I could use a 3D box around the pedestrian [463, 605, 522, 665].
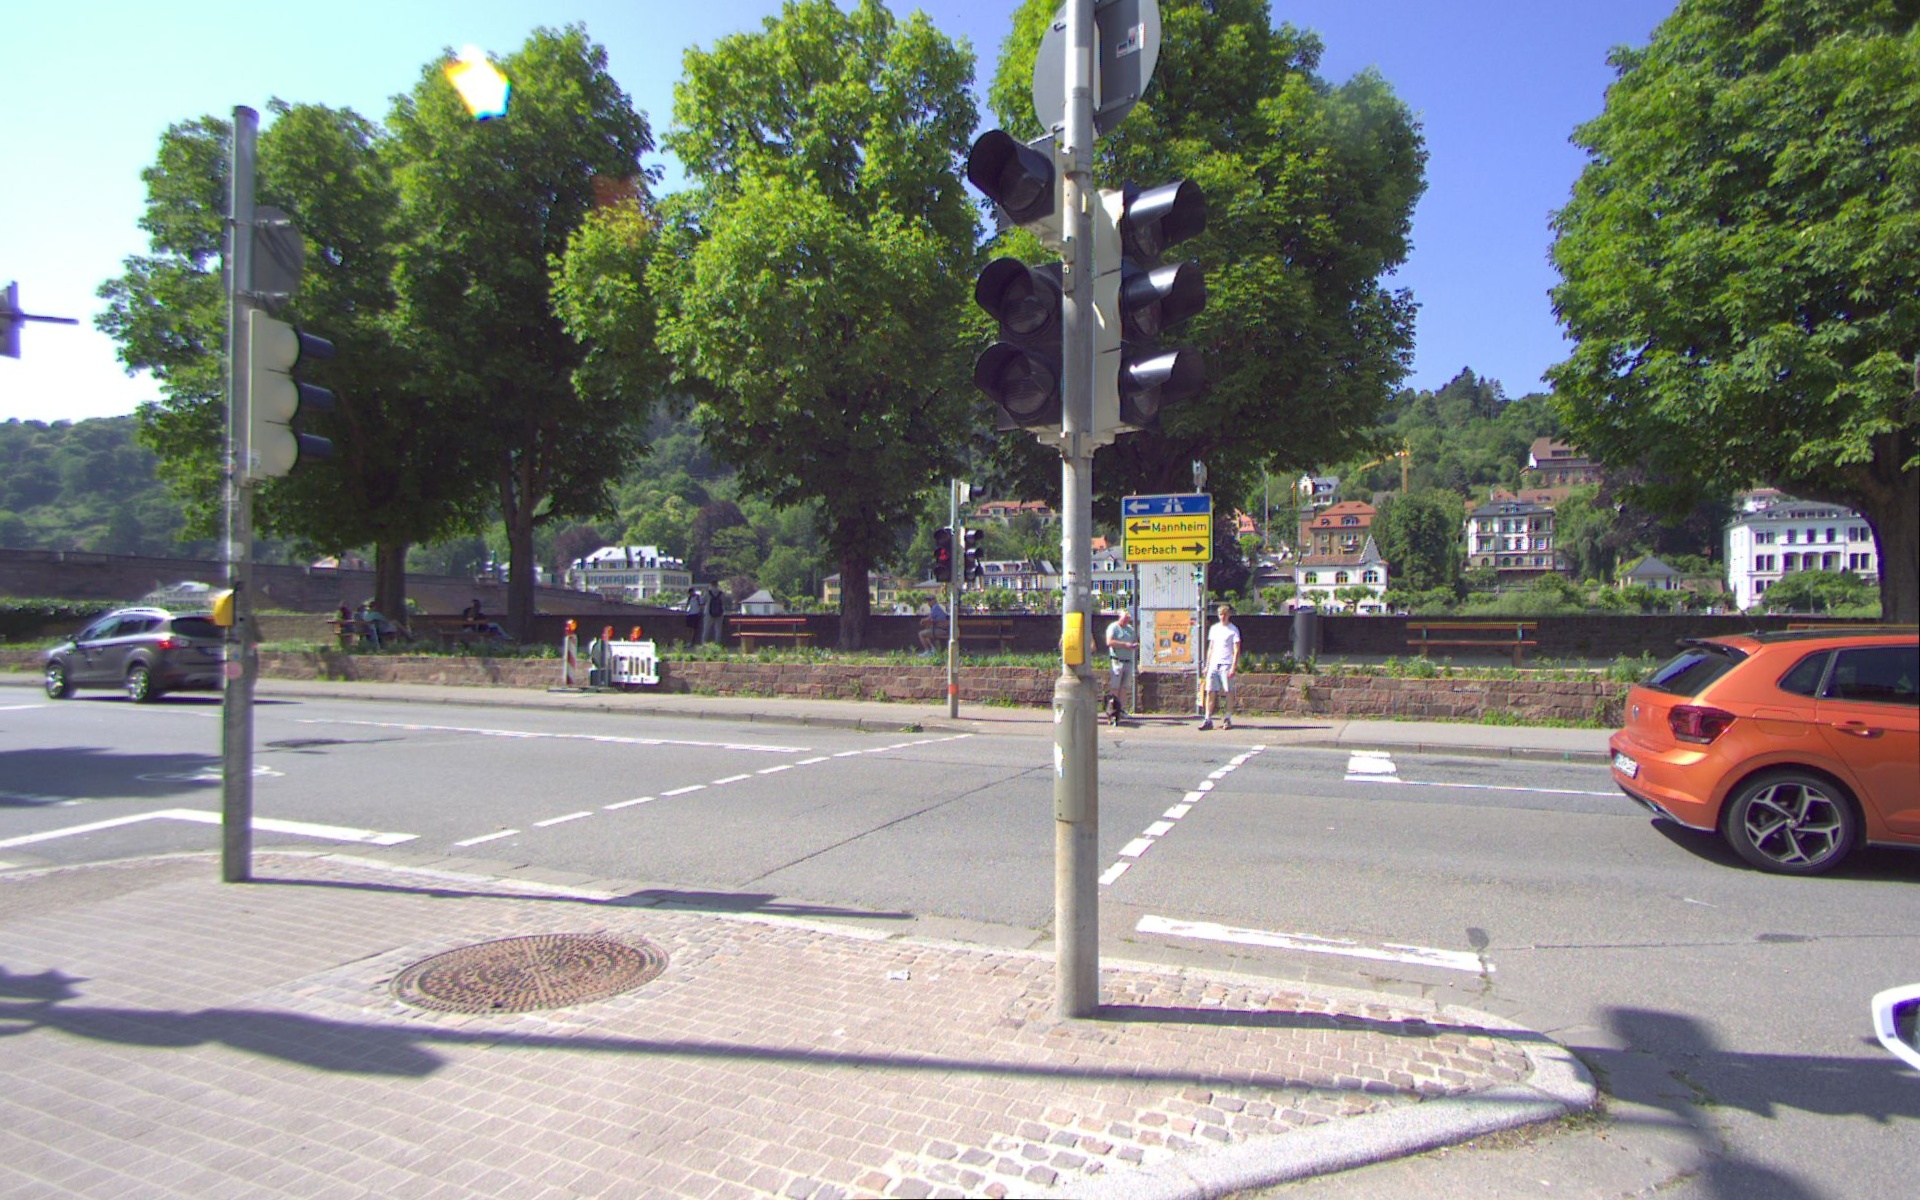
[{"bbox_3d":[-12.064,0.904,25.959,0.460,1.499,1.384,0,-2,26],"label":"pedestrian"}]

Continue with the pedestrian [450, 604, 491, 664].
[{"bbox_3d":[-12.655,0.876,25.969,0.460,1.512,0.804,0,-2,26],"label":"pedestrian"}]

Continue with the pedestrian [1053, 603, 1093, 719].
[{"bbox_3d":[1.813,0.970,16.192,0.621,1.825,0.725,0,-2,6],"label":"pedestrian"}]

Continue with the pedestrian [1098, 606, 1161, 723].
[{"bbox_3d":[2.691,1.010,15.922,0.710,1.793,0.684,2,-2,-34],"label":"pedestrian"}]

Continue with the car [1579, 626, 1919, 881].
[{"bbox_3d":[6.319,0.898,6.255,3.940,1.424,1.730,0,-2,22],"label":"car"}]

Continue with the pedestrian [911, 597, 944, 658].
[{"bbox_3d":[-0.662,0.568,20.766,0.630,1.244,0.414,0,-3,5],"label":"pedestrian"}]

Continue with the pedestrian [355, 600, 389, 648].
[{"bbox_3d":[-16.076,0.670,27.473,0.460,1.287,0.631,0,-2,27],"label":"pedestrian"}]

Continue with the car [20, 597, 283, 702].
[{"bbox_3d":[-15.380,0.944,19.132,4.323,1.776,1.845,1,-4,20],"label":"car"}]

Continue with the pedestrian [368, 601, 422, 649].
[{"bbox_3d":[-15.457,0.693,27.519,0.460,1.287,1.223,0,-2,26],"label":"pedestrian"}]

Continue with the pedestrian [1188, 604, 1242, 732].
[{"bbox_3d":[3.756,0.985,14.765,0.692,1.825,0.579,0,-2,24],"label":"pedestrian"}]

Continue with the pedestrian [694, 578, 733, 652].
[{"bbox_3d":[-6.467,0.407,26.385,0.749,1.882,0.757,1,-2,5],"label":"pedestrian"}]

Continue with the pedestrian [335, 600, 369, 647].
[{"bbox_3d":[-16.855,0.651,27.861,0.460,1.287,0.631,0,-2,27],"label":"pedestrian"}]

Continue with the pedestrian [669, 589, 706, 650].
[{"bbox_3d":[-8.066,0.578,29.730,0.696,1.754,0.757,1,-2,18],"label":"pedestrian"}]
